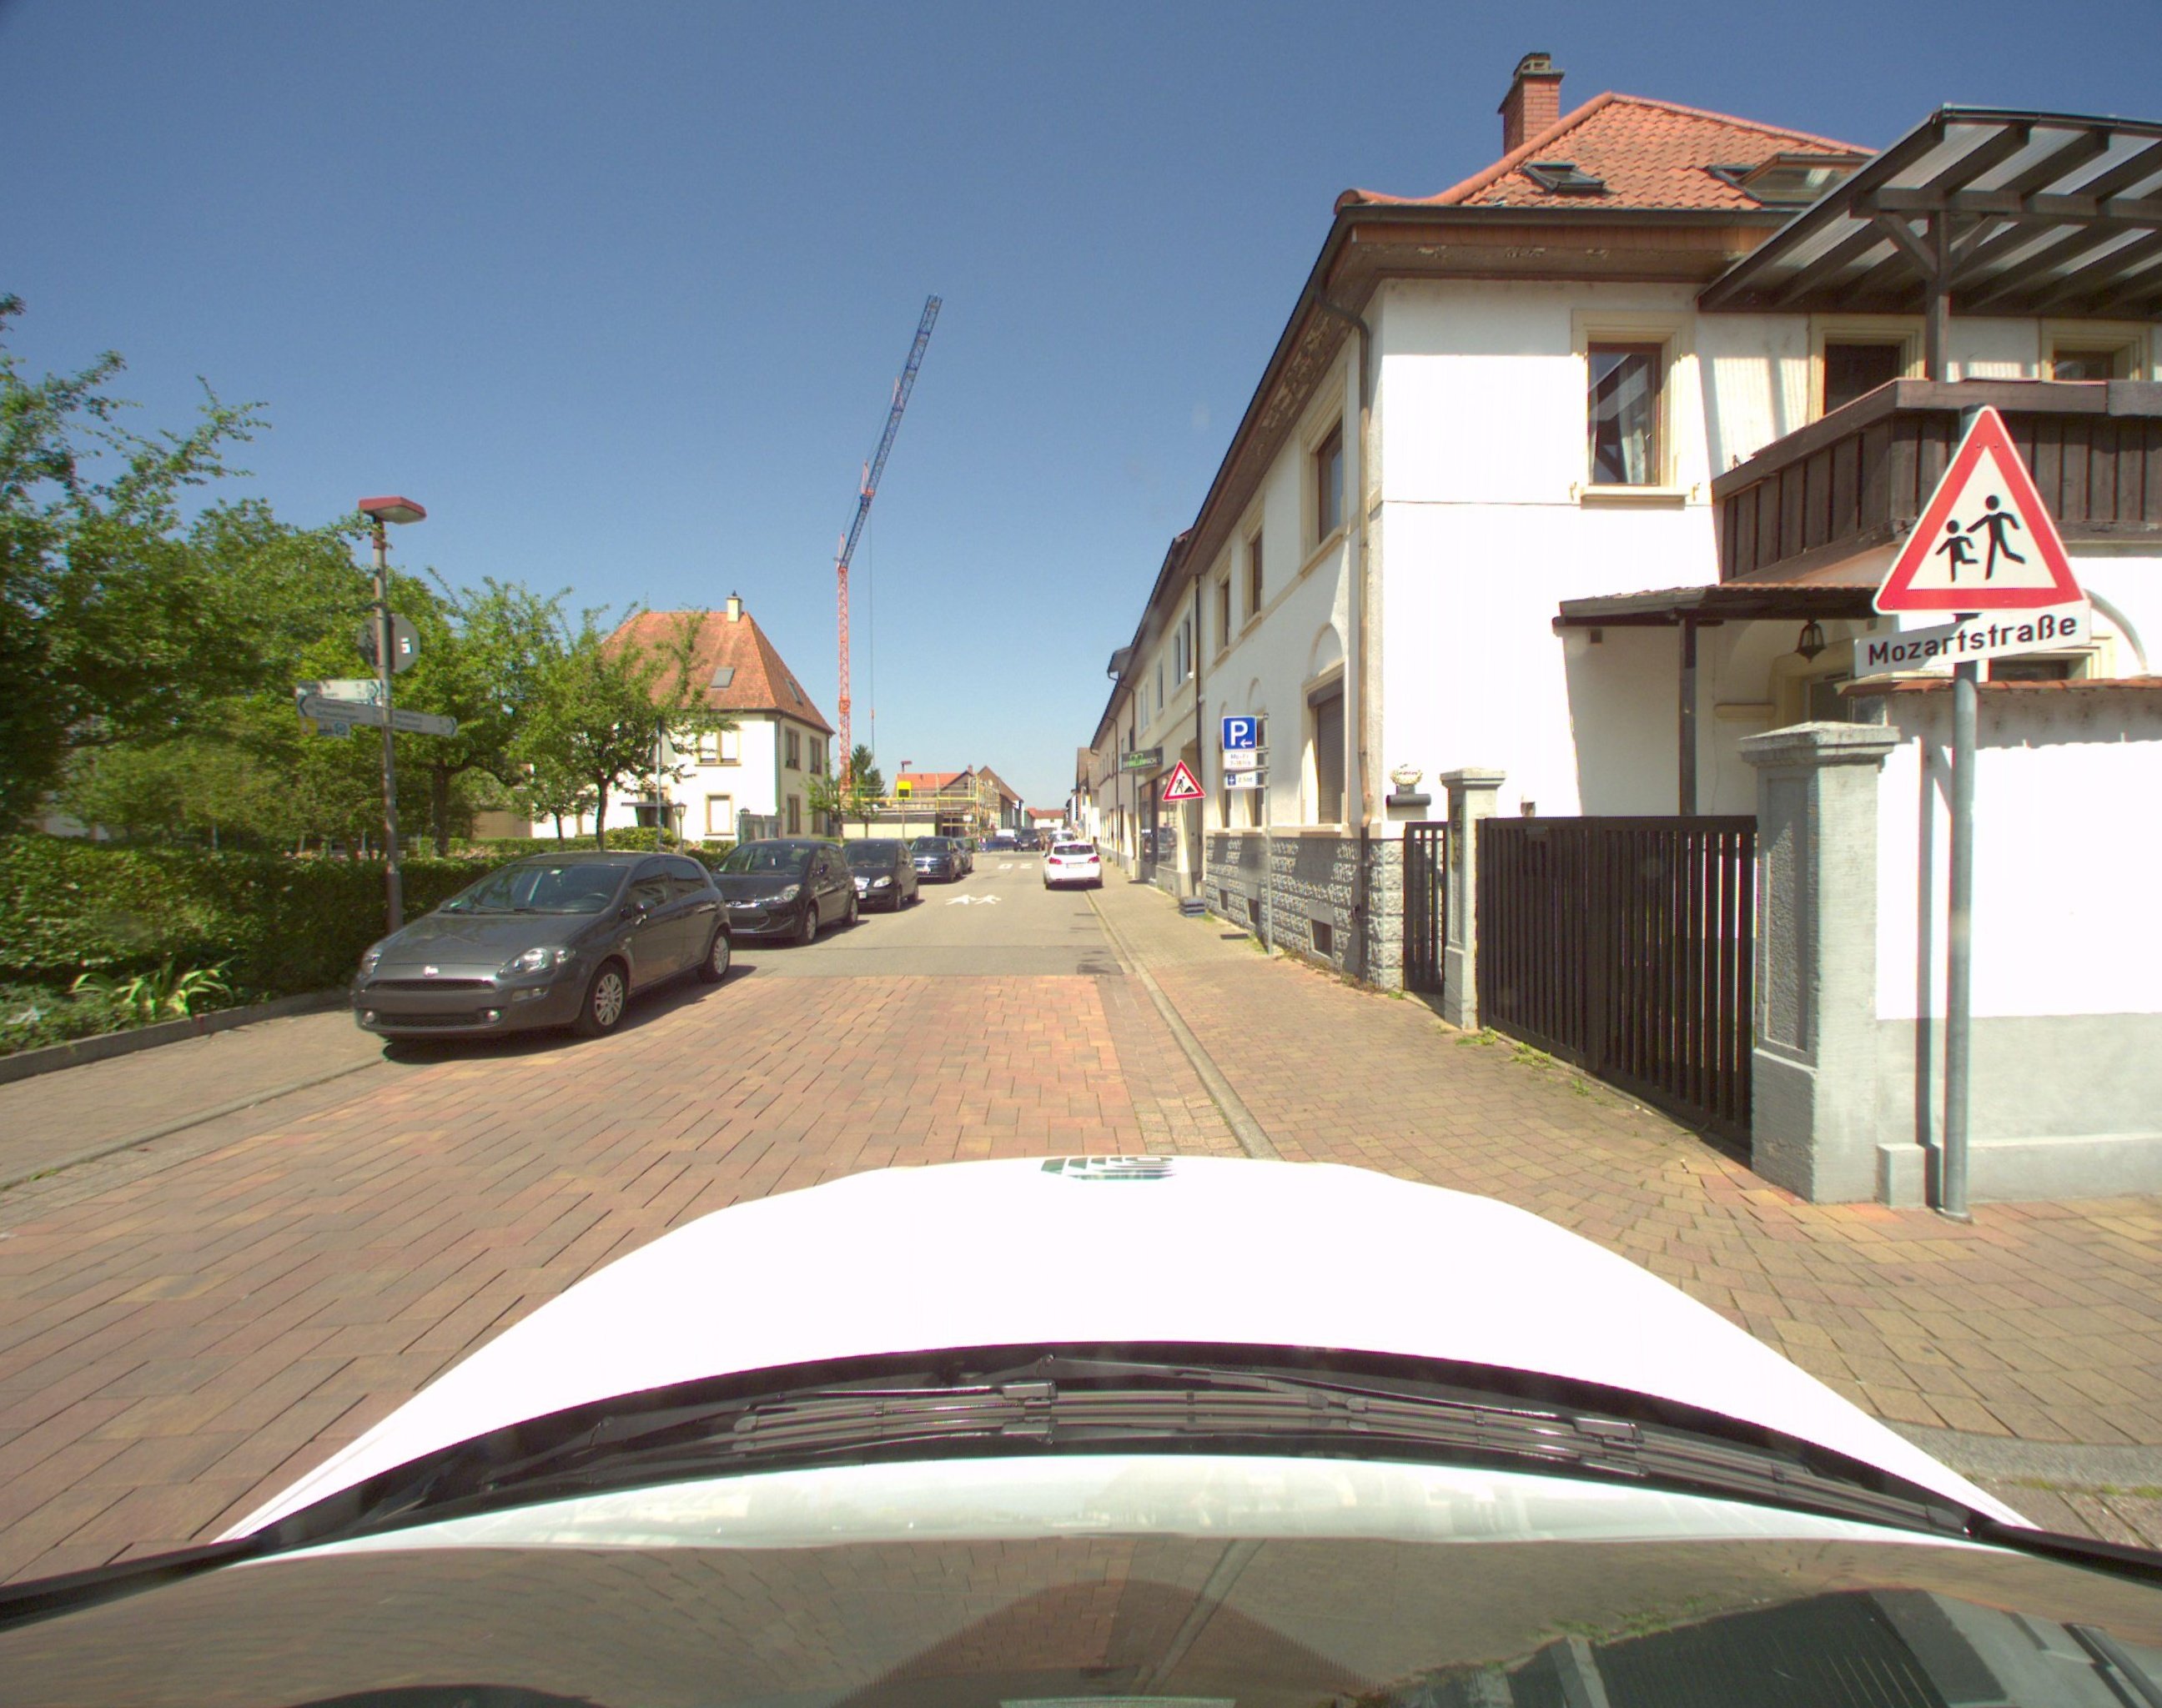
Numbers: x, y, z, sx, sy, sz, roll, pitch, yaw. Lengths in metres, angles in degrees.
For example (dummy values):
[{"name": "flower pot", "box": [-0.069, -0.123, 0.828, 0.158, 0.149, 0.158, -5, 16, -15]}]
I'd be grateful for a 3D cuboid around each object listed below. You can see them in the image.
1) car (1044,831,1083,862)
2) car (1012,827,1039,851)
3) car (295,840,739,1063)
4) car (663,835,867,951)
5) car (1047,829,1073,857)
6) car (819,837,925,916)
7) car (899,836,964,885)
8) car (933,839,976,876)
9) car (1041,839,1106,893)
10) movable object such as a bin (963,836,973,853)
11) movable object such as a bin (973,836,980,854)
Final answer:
[{"name": "car", "box": [-1.060, -0.450, 46.342, 1.881, 1.555, 3.888, -4, 2, -5]}, {"name": "car", "box": [-3.989, -1.113, 59.094, 1.877, 1.668, 4.149, -1, 2, -3]}, {"name": "car", "box": [-4.755, 0.643, 7.658, 1.700, 1.496, 3.850, -1, 2, -5]}, {"name": "car", "box": [-4.979, 0.499, 13.501, 1.810, 1.604, 4.024, -1, 2, -1]}, {"name": "car", "box": [-1.326, -0.731, 51.510, 1.560, 1.612, 3.541, -1, 4, -2]}, {"name": "car", "box": [-4.815, 0.432, 19.226, 1.634, 1.628, 3.765, -1, 2, -3]}, {"name": "car", "box": [-5.428, 0.168, 29.988, 1.822, 1.630, 4.212, -1, 2, -4]}, {"name": "car", "box": [-5.464, 0.101, 35.416, 1.433, 1.474, 3.782, -1, 1, -3]}, {"name": "car", "box": [-0.336, 0.314, 26.473, 1.883, 1.541, 4.238, -1, 2, -4]}, {"name": "movable object such as a bin", "box": [-7.564, -0.655, 54.554, 0.621, 1.155, 0.675, -1, 2, -9]}, {"name": "movable object such as a bin", "box": [-7.053, -0.612, 55.073, 0.431, 1.155, 0.363, -1, 2, -12]}]
